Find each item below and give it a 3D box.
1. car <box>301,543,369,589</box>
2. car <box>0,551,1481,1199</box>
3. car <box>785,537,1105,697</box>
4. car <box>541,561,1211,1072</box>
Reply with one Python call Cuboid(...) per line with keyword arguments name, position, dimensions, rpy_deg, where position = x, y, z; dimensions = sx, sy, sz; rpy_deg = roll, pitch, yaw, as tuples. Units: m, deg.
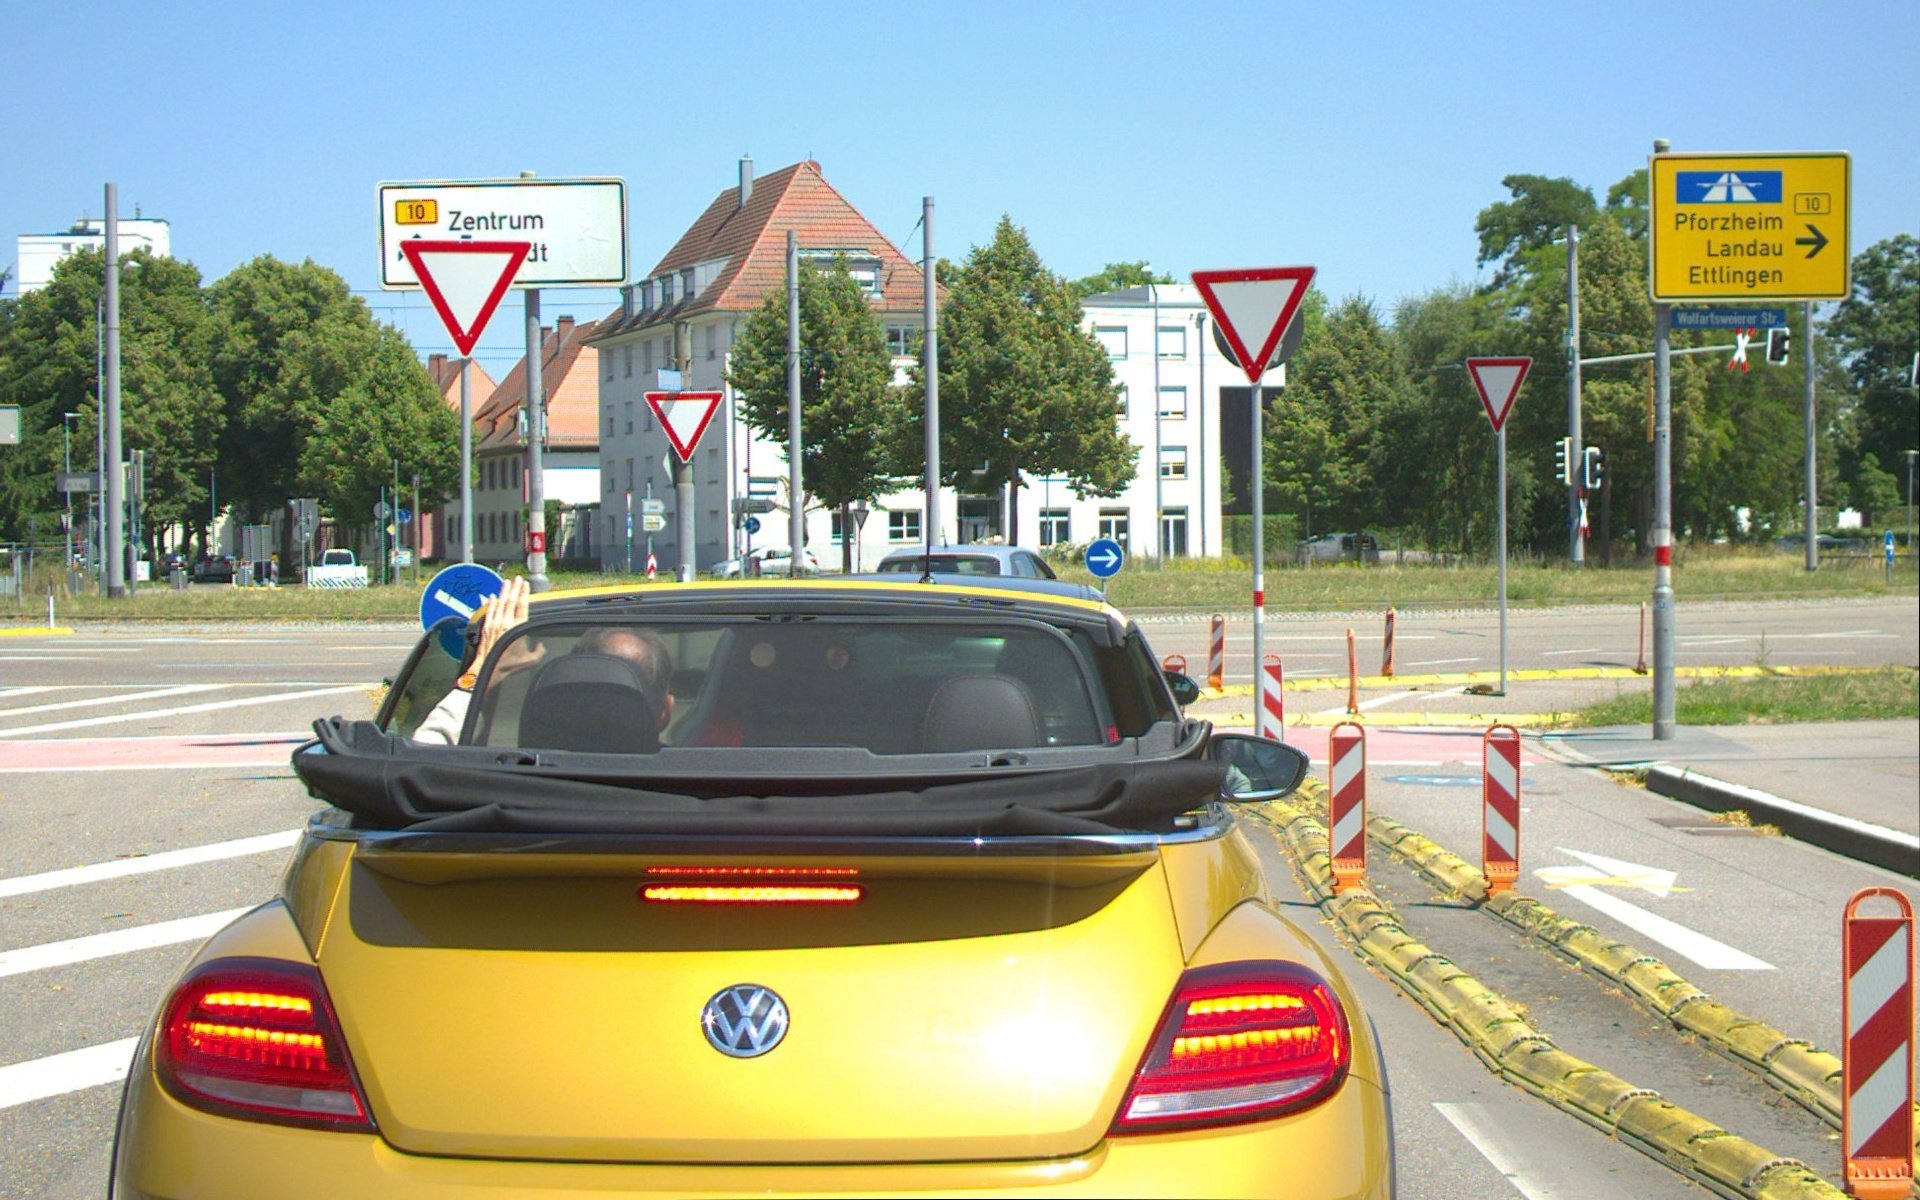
Cuboid(name="car", position=(-28.711, -1.556, 157.795), dimensions=(1.987, 2.063, 5.330), rpy_deg=(1, 1, -22))
Cuboid(name="car", position=(-0.296, 0.670, 6.216), dimensions=(1.765, 1.476, 4.258), rpy_deg=(1, 1, -1))
Cuboid(name="car", position=(-0.055, 0.133, 32.397), dimensions=(2.066, 1.377, 4.255), rpy_deg=(1, 1, 13))
Cuboid(name="car", position=(-0.257, 0.582, 11.726), dimensions=(1.851, 1.361, 4.258), rpy_deg=(-1, 1, -1))
